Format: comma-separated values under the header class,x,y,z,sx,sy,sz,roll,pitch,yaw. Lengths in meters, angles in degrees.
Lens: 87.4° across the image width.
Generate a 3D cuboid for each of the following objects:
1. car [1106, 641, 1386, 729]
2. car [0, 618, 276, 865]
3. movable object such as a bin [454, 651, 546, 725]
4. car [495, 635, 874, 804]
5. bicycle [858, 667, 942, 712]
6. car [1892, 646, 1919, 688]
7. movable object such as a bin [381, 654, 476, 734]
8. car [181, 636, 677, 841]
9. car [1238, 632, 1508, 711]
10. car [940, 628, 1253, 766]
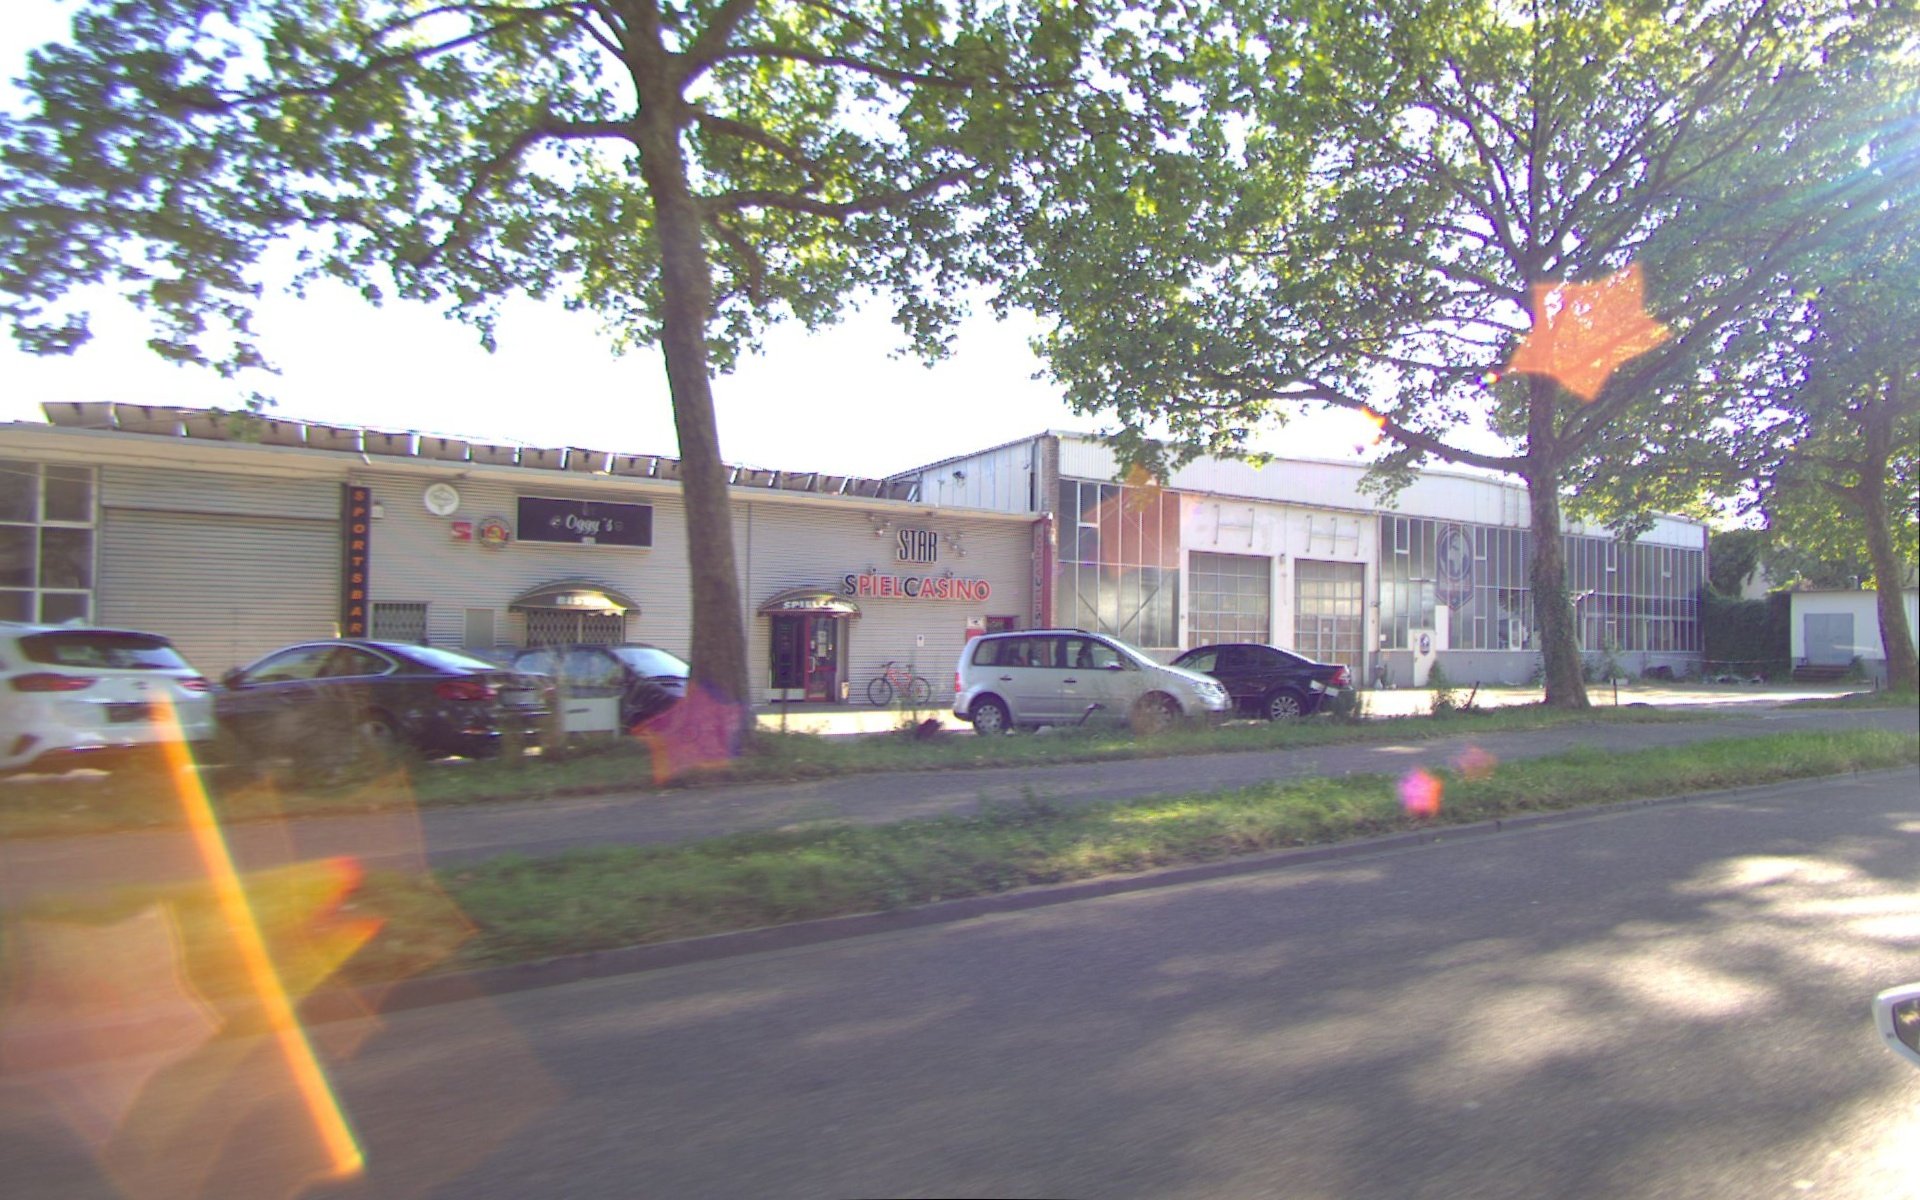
class,x,y,z,sx,sy,sz,roll,pitch,yaw
car,4.890,1.390,17.359,4.396,1.323,2.000,-1,-2,19
car,-8.636,1.054,8.846,4.176,1.721,2.001,1,-1,14
movable object such as a bin,-9.711,1.823,21.194,1.610,1.450,1.050,2,-1,-32
car,-3.408,1.340,12.480,4.181,1.651,1.999,1,-1,23
bicycle,-1.558,2.341,26.387,2.133,1.073,0.533,2,4,-29
car,33.356,2.223,33.866,3.881,1.387,1.982,2,-7,-35
movable object such as a bin,-10.400,1.806,19.656,1.556,1.450,1.050,2,-1,-32
car,-5.338,1.281,10.337,4.176,1.651,2.001,1,-1,13
car,7.507,1.263,18.648,4.396,1.323,2.000,-1,-2,19
car,2.114,1.370,15.495,4.398,1.753,1.999,1,-1,23
